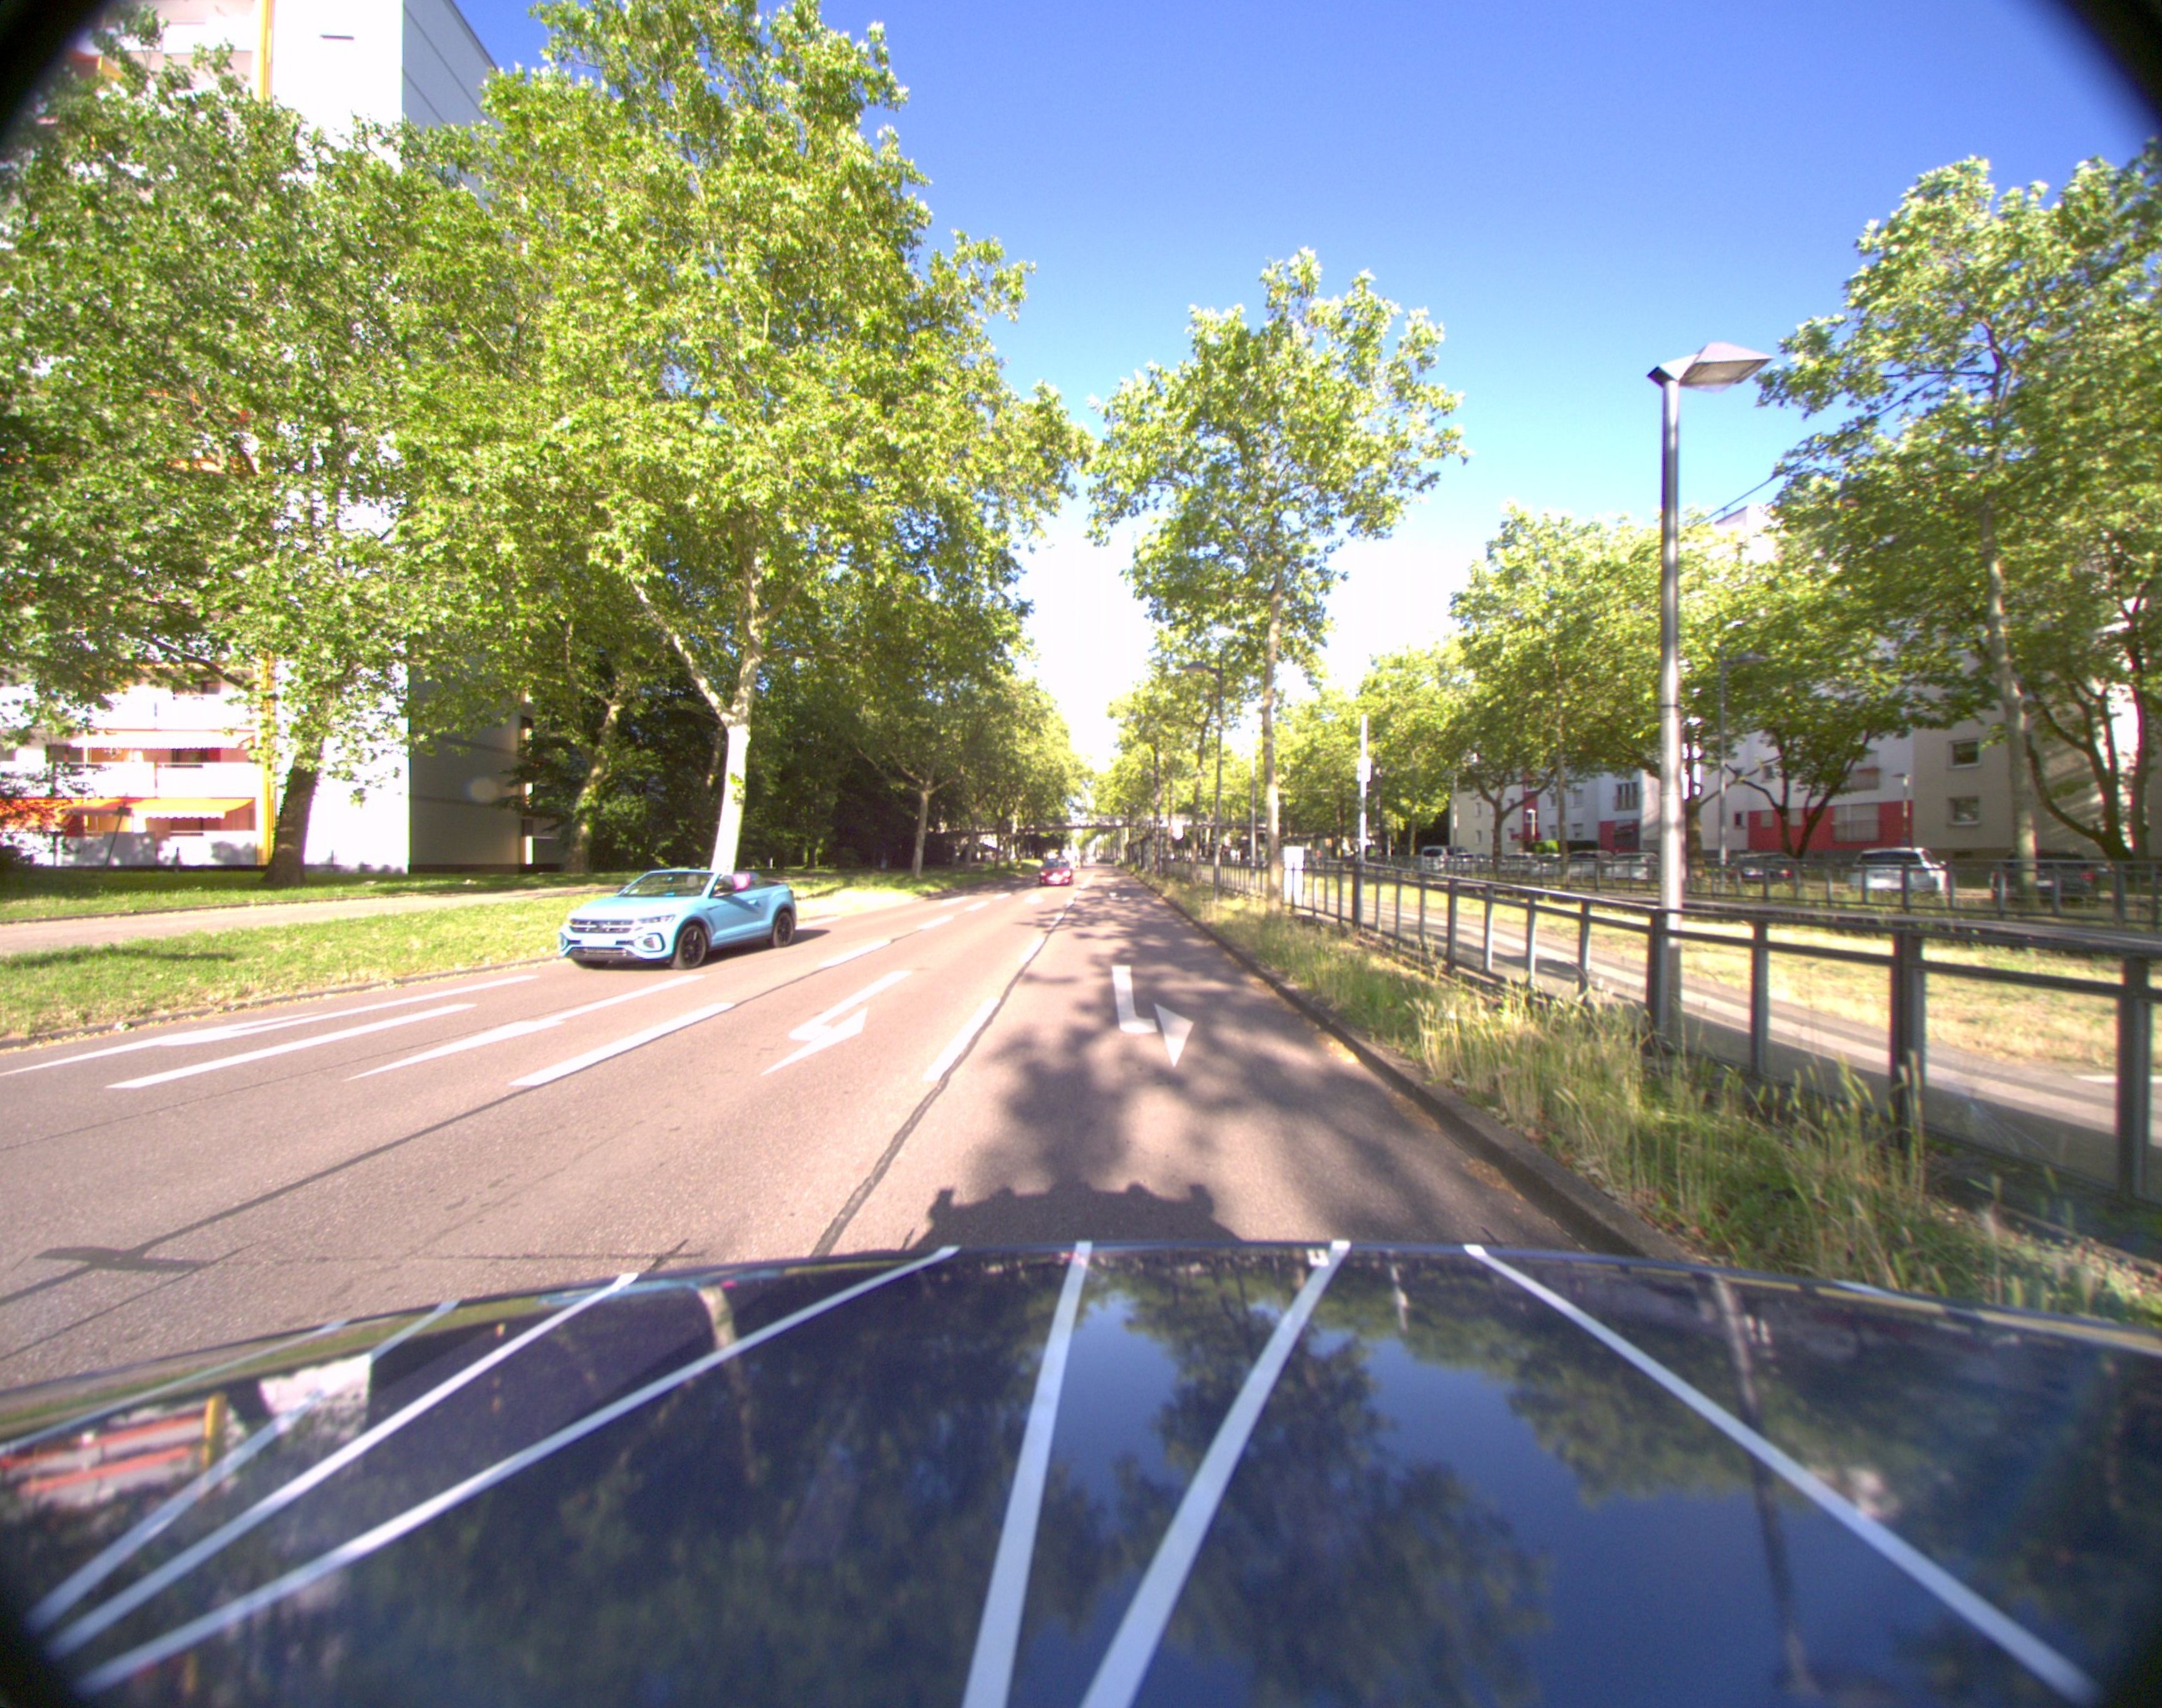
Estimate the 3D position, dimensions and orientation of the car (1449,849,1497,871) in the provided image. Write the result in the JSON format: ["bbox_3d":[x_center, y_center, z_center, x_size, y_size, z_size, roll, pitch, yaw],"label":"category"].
[{"bbox_3d":[26.162,0.366,50.668,3.494,1.395,1.623,-1,1,-41],"label":"car"}]

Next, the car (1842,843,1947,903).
[{"bbox_3d":[25.298,0.547,23.590,4.007,1.586,1.810,-3,1,-37],"label":"car"}]

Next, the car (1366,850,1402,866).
[{"bbox_3d":[26.573,0.333,66.616,3.494,1.312,1.476,-1,1,-41],"label":"car"}]

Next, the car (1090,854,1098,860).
[{"bbox_3d":[3.094,0.687,184.745,1.798,1.465,3.999,-2,1,-1],"label":"car"}]

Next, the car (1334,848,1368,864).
[{"bbox_3d":[27.107,0.201,76.193,3.742,1.517,1.597,-1,1,-43],"label":"car"}]

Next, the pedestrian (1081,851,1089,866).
[{"bbox_3d":[0.535,0.590,99.265,0.919,2.002,0.962,-2,1,-1],"label":"pedestrian"}]

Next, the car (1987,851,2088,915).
[{"bbox_3d":[25.193,0.704,19.987,3.770,1.420,1.555,-3,1,-37],"label":"car"}]

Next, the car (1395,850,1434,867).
[{"bbox_3d":[26.580,0.375,60.598,3.494,1.293,1.476,-1,1,-41],"label":"car"}]

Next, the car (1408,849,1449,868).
[{"bbox_3d":[26.078,0.351,57.022,3.494,1.336,1.476,-1,1,-41],"label":"car"}]

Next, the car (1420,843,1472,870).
[{"bbox_3d":[25.874,0.171,53.796,4.056,1.802,1.864,-1,1,-41],"label":"car"}]

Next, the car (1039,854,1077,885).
[{"bbox_3d":[-1.128,0.785,39.476,1.646,1.430,3.761,-2,1,3],"label":"car"}]

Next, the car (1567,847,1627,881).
[{"bbox_3d":[26.001,0.498,38.234,3.402,1.499,1.461,-3,1,-37],"label":"car"}]

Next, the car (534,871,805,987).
[{"bbox_3d":[-6.391,1.072,12.435,1.737,1.442,4.134,-1,0,8],"label":"car"}]

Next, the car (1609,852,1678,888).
[{"bbox_3d":[25.698,0.710,34.665,3.890,1.406,1.486,-3,1,-37],"label":"car"}]

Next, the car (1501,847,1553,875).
[{"bbox_3d":[25.995,0.398,44.260,3.494,1.417,1.558,-3,-1,-42],"label":"car"}]

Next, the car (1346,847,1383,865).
[{"bbox_3d":[26.173,0.170,70.134,3.835,1.561,1.597,-1,1,-43],"label":"car"}]

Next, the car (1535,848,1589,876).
[{"bbox_3d":[26.300,0.440,41.502,3.493,1.321,1.476,-3,0,-41],"label":"car"}]

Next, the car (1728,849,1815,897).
[{"bbox_3d":[25.119,0.638,27.601,4.007,1.479,1.626,-3,1,-37],"label":"car"}]
